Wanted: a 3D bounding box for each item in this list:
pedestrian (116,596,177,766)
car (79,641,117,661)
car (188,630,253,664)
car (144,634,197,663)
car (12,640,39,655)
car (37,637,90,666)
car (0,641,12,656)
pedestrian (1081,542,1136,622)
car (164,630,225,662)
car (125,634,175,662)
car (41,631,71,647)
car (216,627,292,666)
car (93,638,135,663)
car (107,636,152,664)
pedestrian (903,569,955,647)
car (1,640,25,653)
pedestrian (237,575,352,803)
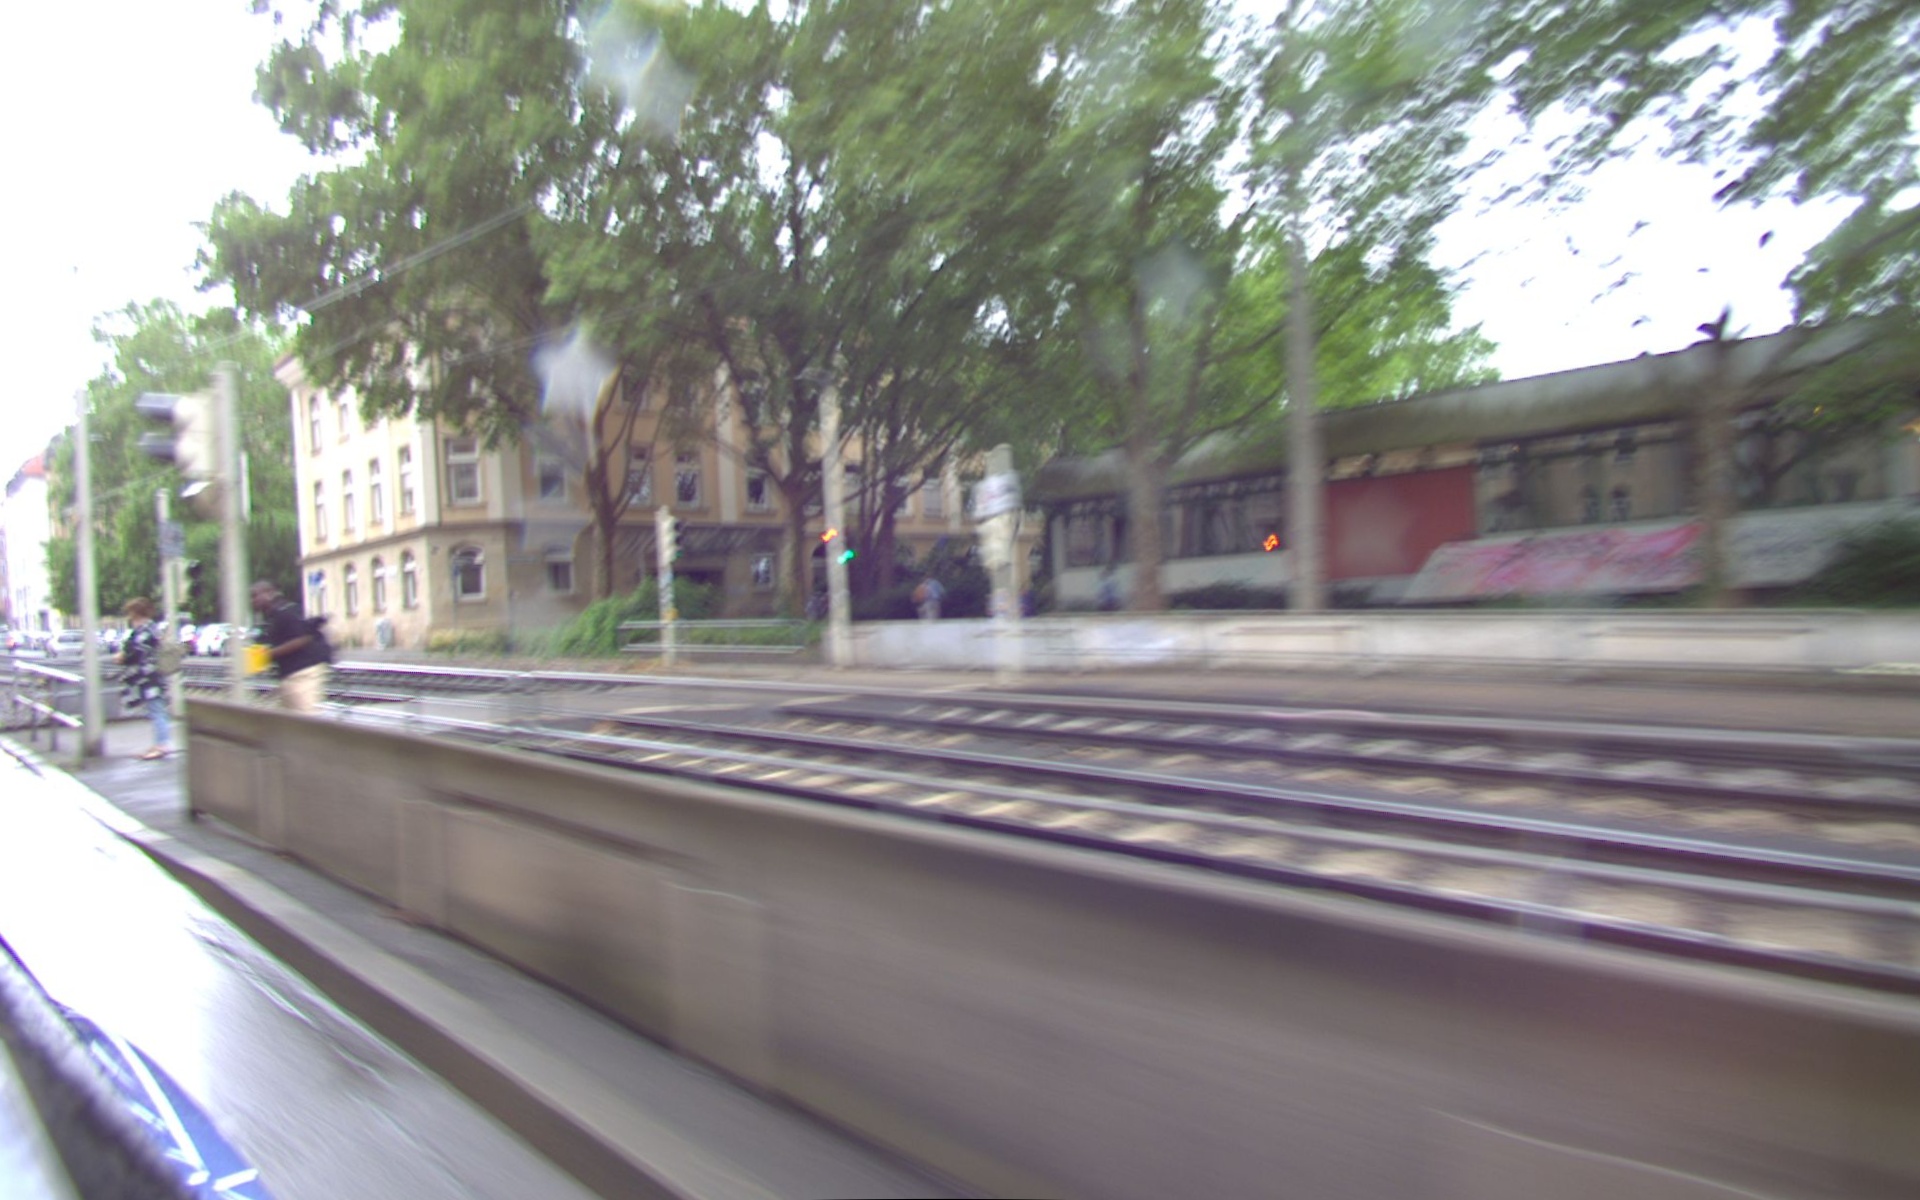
[{"bbox_3d":[-8.184,0.793,10.190,0.427,1.651,0.482,-2,0,-39],"label":"pedestrian"},{"bbox_3d":[-55.559,3.253,65.214,2.906,1.175,1.310,-2,0,39],"label":"car"},{"bbox_3d":[-33.829,2.137,46.249,3.514,1.411,1.625,-2,0,40],"label":"car"},{"bbox_3d":[-41.274,2.513,52.897,3.279,1.411,1.465,-2,0,39],"label":"car"},{"bbox_3d":[-78.778,3.979,85.307,2.907,1.175,1.310,-2,0,40],"label":"car"},{"bbox_3d":[-51.962,2.953,58.638,3.307,1.488,1.667,-1,1,37],"label":"car"},{"bbox_3d":[-77.291,3.932,81.110,2.906,1.175,1.552,-2,0,39],"label":"car"},{"bbox_3d":[3.436,-0.416,23.452,0.858,1.812,0.863,-2,1,-43],"label":"pedestrian"},{"bbox_3d":[-37.356,2.220,49.376,3.514,1.411,1.625,-2,0,40],"label":"car"},{"bbox_3d":[-44.832,2.631,56.022,3.497,1.460,1.465,-2,0,39],"label":"car"},{"bbox_3d":[-69.143,2.967,77.384,2.907,1.175,1.309,-2,0,40],"label":"car"},{"bbox_3d":[-30.320,1.951,43.440,3.806,1.488,1.867,-1,1,43],"label":"car"},{"bbox_3d":[-52.047,3.096,62.234,3.311,1.389,1.385,-2,0,39],"label":"car"},{"bbox_3d":[-48.514,2.924,59.101,3.311,1.520,1.385,-2,0,39],"label":"car"},{"bbox_3d":[-0.742,0.187,24.294,0.862,1.812,0.859,-1,1,45],"label":"pedestrian"},{"bbox_3d":[-89.471,4.414,95.639,2.907,1.175,1.309,-2,0,40],"label":"car"},{"bbox_3d":[-5.309,0.674,8.113,0.642,1.717,0.663,-2,1,-26],"label":"pedestrian"}]
